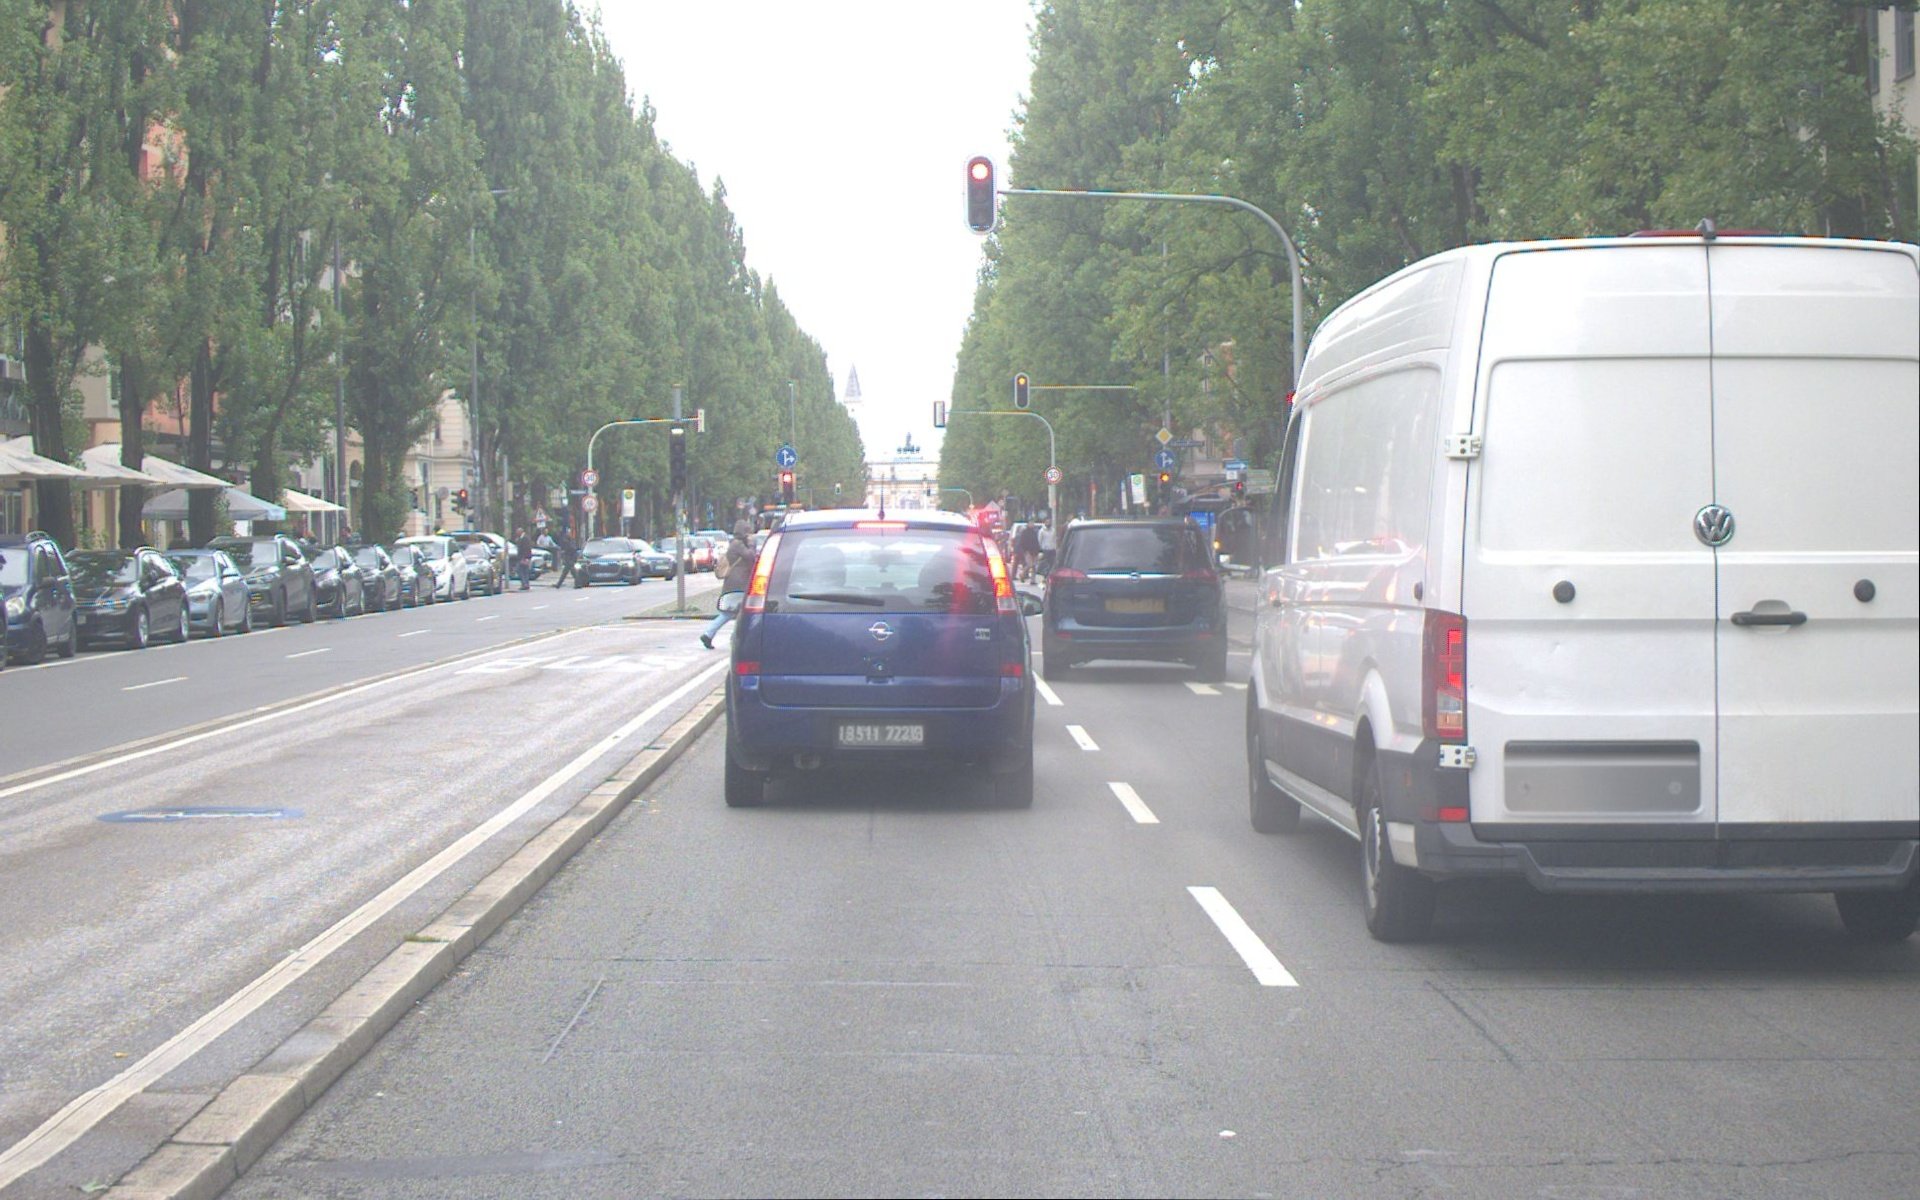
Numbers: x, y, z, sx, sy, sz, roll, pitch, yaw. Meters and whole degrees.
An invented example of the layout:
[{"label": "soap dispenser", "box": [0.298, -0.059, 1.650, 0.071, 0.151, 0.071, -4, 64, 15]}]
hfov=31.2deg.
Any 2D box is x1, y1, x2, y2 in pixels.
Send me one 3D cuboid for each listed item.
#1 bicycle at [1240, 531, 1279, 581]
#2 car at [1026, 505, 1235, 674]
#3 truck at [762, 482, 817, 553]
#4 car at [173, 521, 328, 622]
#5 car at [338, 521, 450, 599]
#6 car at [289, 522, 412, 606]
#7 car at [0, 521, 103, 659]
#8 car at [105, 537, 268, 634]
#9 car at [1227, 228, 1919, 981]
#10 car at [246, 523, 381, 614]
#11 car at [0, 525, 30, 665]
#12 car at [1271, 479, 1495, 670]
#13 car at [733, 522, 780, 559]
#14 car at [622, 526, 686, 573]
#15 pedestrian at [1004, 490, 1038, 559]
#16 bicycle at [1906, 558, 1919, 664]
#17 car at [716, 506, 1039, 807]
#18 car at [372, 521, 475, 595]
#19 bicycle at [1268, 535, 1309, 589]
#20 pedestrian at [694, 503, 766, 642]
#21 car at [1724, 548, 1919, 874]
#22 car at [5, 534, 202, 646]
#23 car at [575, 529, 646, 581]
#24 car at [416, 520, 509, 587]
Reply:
[{"label": "bicycle", "box": [8.231, -1.212, 94.528, 0.772, 1.344, 2.449, -1, 1, -1]}, {"label": "car", "box": [1.679, -0.149, 35.089, 1.896, 1.616, 4.000, 0, 1, -1]}, {"label": "truck", "box": [-8.260, -4.000, 167.338, 2.383, 3.335, 7.111, -1, 1, -1]}, {"label": "car", "box": [-12.726, -0.544, 61.889, 1.866, 1.660, 4.401, -2, 1, -1]}, {"label": "car", "box": [-12.878, -0.929, 78.464, 1.866, 1.660, 4.120, -2, 1, -1]}, {"label": "car", "box": [-12.897, -0.785, 72.939, 1.866, 1.660, 4.120, -2, 1, -1]}, {"label": "car", "box": [-12.549, -0.142, 45.274, 1.709, 1.715, 3.923, -2, 1, -4]}, {"label": "car", "box": [-12.576, -0.268, 56.101, 1.733, 1.421, 4.144, -2, 1, -1]}, {"label": "car", "box": [2.473, -0.066, 14.720, 2.063, 2.484, 6.731, 0, 1, -1]}, {"label": "car", "box": [-12.728, -0.657, 67.889, 1.866, 1.660, 4.120, -2, 1, -1]}, {"label": "car", "box": [-12.347, -0.002, 39.878, 1.866, 1.658, 4.611, -2, 1, -1]}, {"label": "car", "box": [4.526, -0.317, 37.444, 1.787, 1.939, 4.731, 0, 1, -1]}, {"label": "car", "box": [-8.179, -2.413, 138.521, 1.735, 1.460, 3.365, -1, 1, -1]}, {"label": "car", "box": [-9.976, -1.662, 112.329, 1.745, 1.429, 4.130, -2, 1, -1]}, {"label": "pedestrian", "box": [1.638, -2.029, 92.386, 0.719, 1.820, 0.888, 1, 1, -11]}, {"label": "bicycle", "box": [9.231, 0.108, 31.945, 0.349, 0.992, 1.455, -2, 1, -4]}, {"label": "car", "box": [-0.451, 0.247, 19.848, 1.671, 1.563, 4.000, 0, 1, -1]}, {"label": "car", "box": [-13.028, -1.045, 83.724, 1.866, 1.660, 4.120, -2, 1, -1]}, {"label": "bicycle", "box": [8.429, -0.987, 88.319, 0.772, 1.344, 2.449, -1, 1, -1]}, {"label": "pedestrian", "box": [-2.803, -0.337, 41.937, 0.859, 1.678, 0.627, -1, 1, -3]}, {"label": "car", "box": [4.965, 0.479, 15.574, 1.709, 1.388, 4.345, 0, 1, -5]}, {"label": "car", "box": [-12.523, -0.179, 50.524, 1.798, 1.483, 4.351, -2, 1, -1]}, {"label": "car", "box": [-10.557, -1.386, 104.100, 1.697, 1.457, 4.713, -2, 1, -1]}, {"label": "car", "box": [-13.139, -1.250, 90.997, 1.866, 1.660, 4.120, -2, 1, -1]}]
